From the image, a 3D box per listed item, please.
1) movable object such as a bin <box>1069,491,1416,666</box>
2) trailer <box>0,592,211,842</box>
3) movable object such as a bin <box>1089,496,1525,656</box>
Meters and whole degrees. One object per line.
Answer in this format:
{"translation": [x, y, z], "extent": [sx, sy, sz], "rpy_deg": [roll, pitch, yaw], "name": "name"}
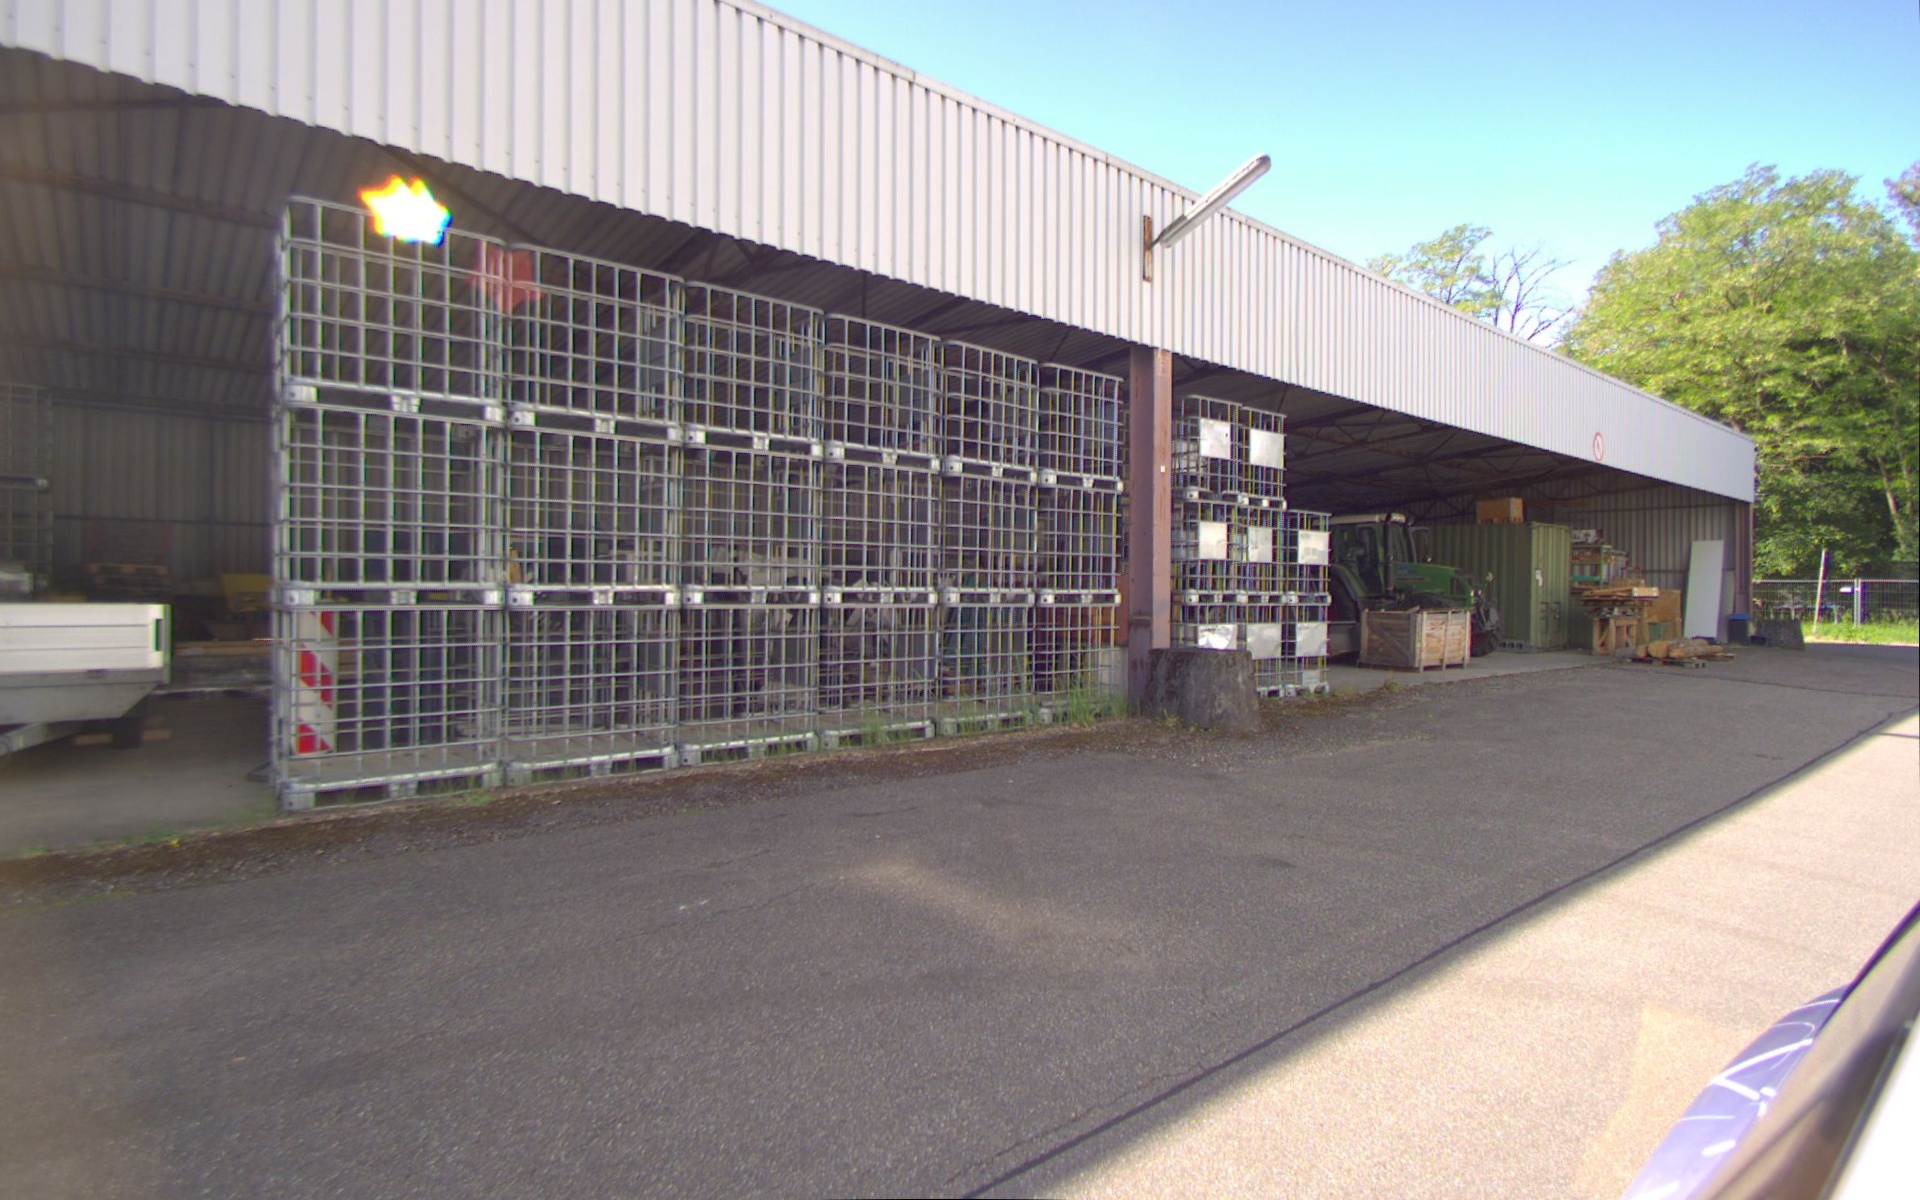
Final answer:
{"translation": [5.433, -0.393, 20.382], "extent": [2.962, 2.947, 6.199], "rpy_deg": [0, 0, -39], "name": "movable object such as a bin"}
{"translation": [-6.749, 0.548, 6.939], "extent": [2.104, 1.147, 5.857], "rpy_deg": [0, 1, -41], "name": "trailer"}
{"translation": [7.371, -0.483, 23.131], "extent": [3.154, 2.947, 9.213], "rpy_deg": [0, 0, -39], "name": "movable object such as a bin"}
